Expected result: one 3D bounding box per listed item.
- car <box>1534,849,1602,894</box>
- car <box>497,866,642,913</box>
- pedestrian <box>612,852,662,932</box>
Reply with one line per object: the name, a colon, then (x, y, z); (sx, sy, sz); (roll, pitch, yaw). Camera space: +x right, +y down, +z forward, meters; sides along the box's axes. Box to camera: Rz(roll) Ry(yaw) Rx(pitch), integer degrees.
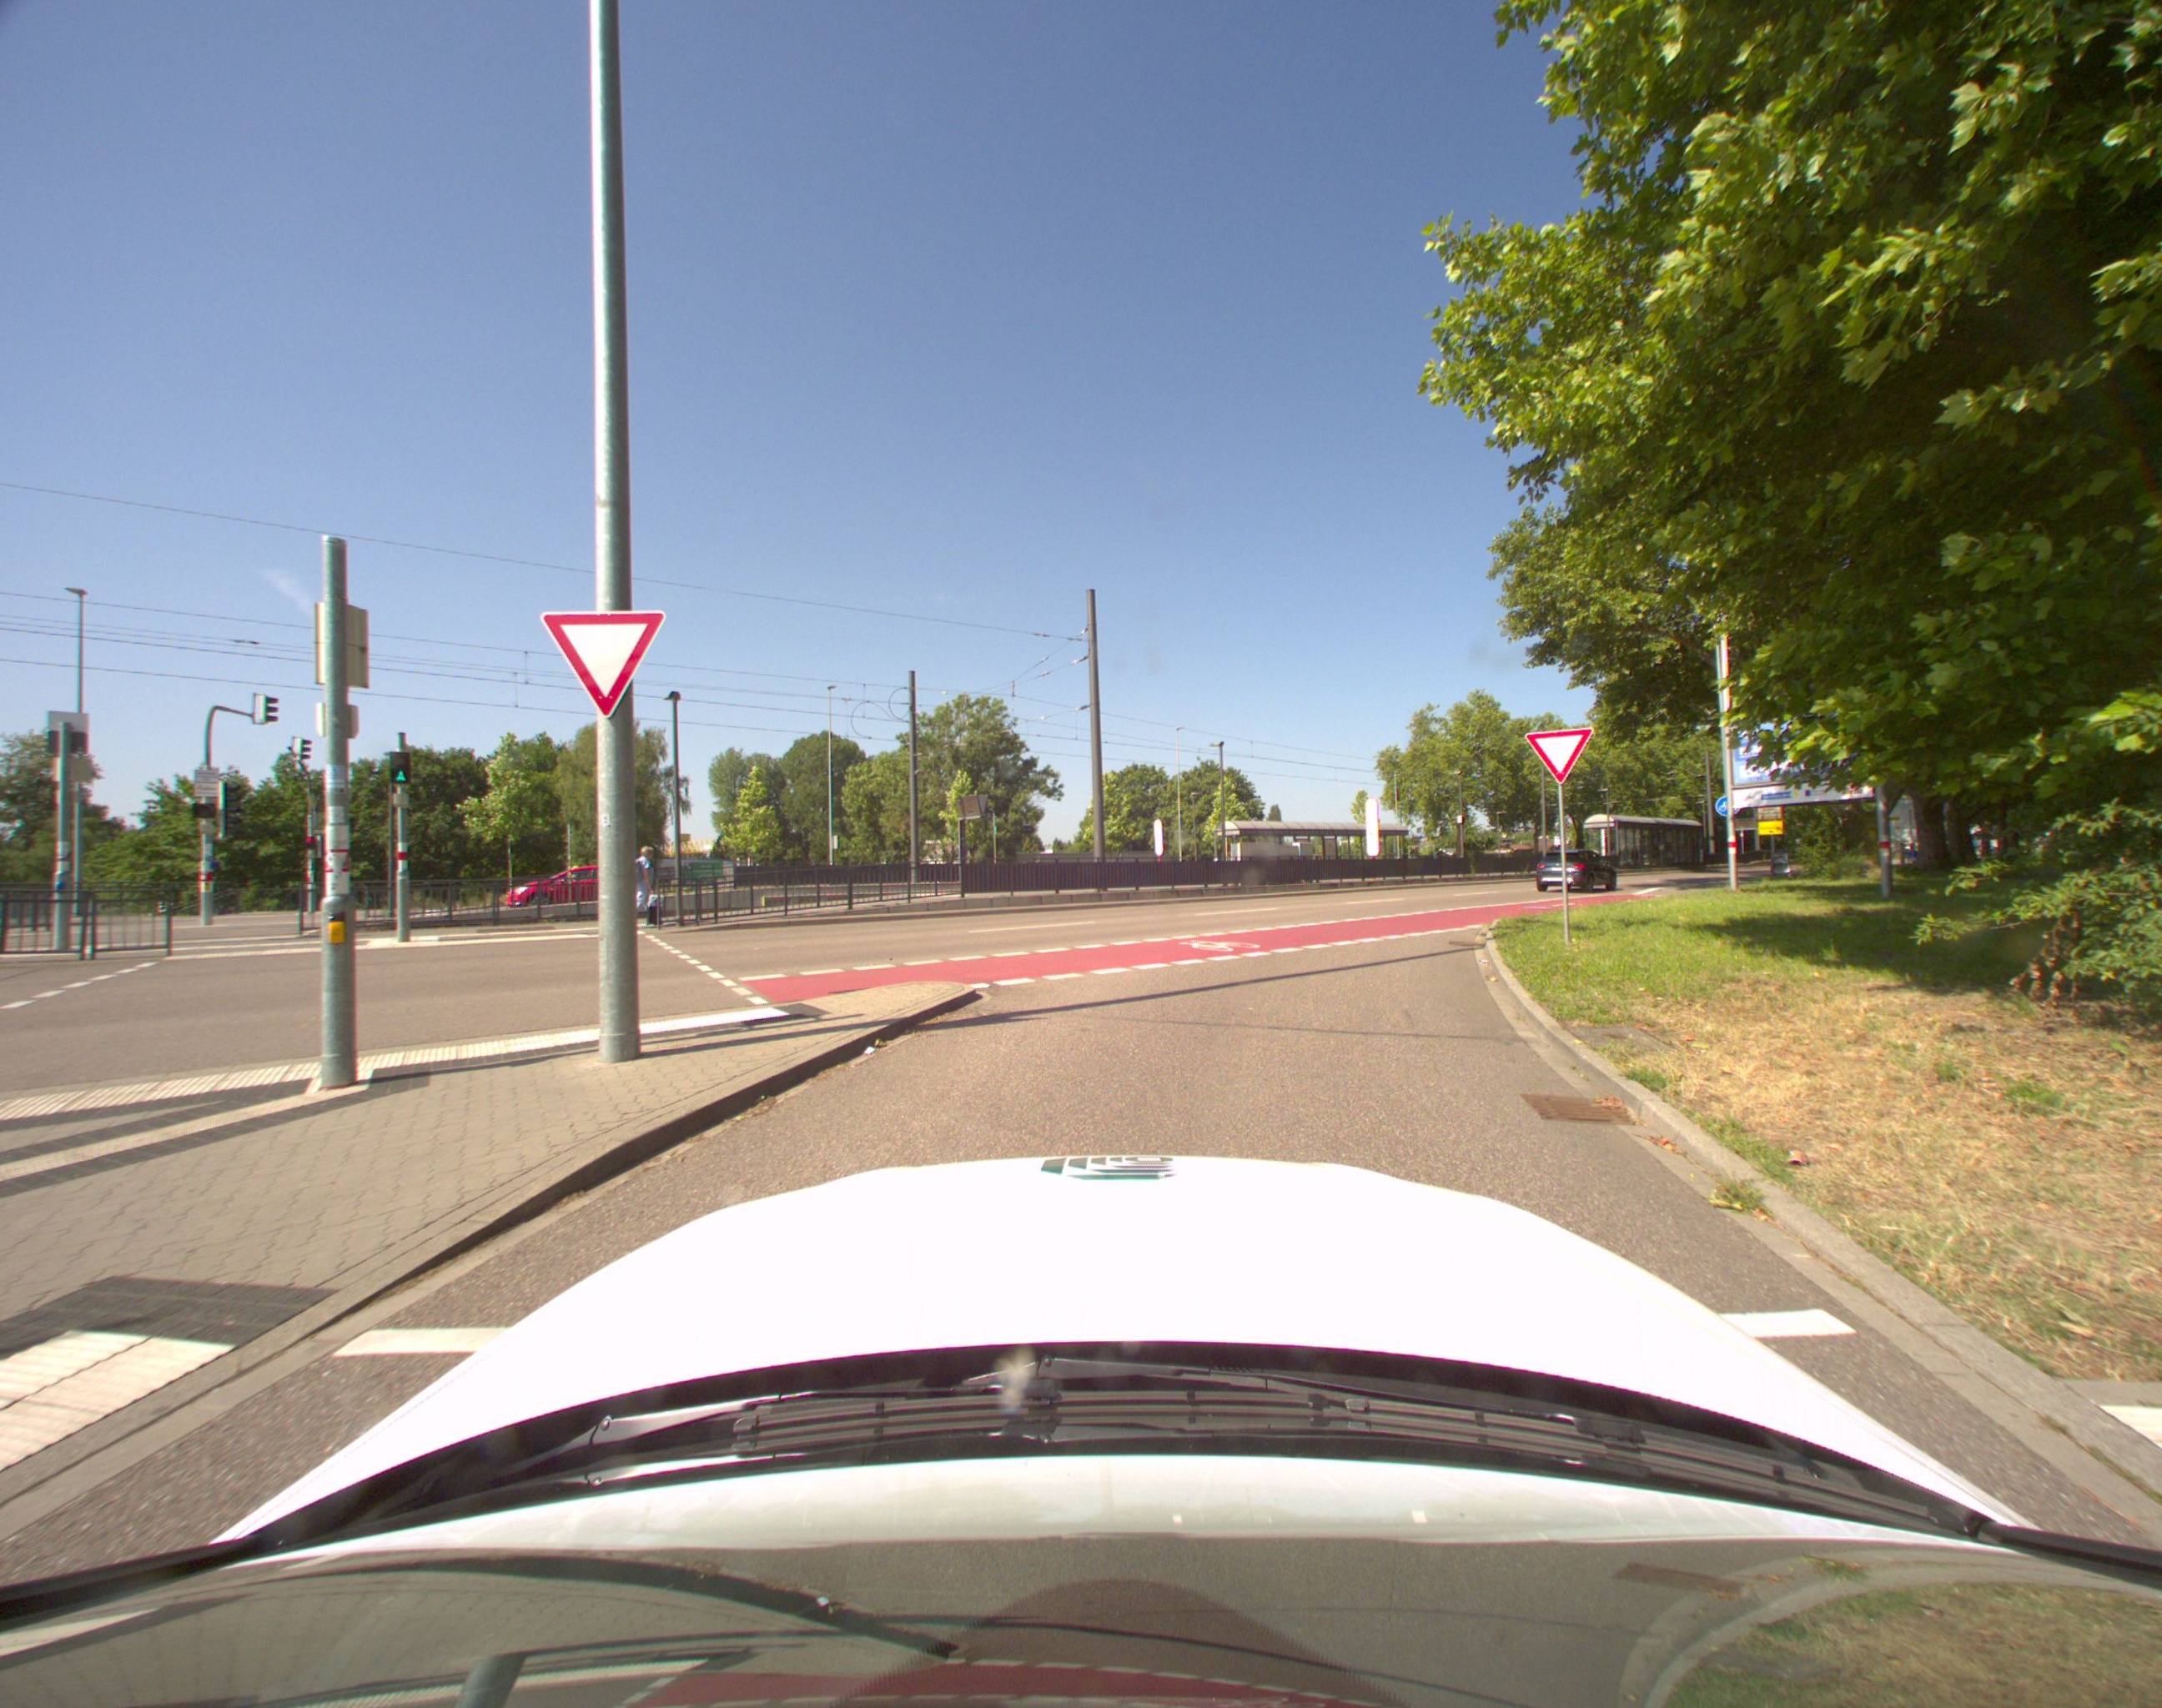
car: (17.699, 0.641, 29.554); (1.654, 1.523, 3.398); (-1, -2, 39)
car: (-17.255, 1.150, 27.557); (4.019, 1.445, 1.726); (0, -1, -39)
pedestrian: (-8.736, 0.718, 16.054); (0.776, 1.511, 0.999); (-1, 0, -25)
